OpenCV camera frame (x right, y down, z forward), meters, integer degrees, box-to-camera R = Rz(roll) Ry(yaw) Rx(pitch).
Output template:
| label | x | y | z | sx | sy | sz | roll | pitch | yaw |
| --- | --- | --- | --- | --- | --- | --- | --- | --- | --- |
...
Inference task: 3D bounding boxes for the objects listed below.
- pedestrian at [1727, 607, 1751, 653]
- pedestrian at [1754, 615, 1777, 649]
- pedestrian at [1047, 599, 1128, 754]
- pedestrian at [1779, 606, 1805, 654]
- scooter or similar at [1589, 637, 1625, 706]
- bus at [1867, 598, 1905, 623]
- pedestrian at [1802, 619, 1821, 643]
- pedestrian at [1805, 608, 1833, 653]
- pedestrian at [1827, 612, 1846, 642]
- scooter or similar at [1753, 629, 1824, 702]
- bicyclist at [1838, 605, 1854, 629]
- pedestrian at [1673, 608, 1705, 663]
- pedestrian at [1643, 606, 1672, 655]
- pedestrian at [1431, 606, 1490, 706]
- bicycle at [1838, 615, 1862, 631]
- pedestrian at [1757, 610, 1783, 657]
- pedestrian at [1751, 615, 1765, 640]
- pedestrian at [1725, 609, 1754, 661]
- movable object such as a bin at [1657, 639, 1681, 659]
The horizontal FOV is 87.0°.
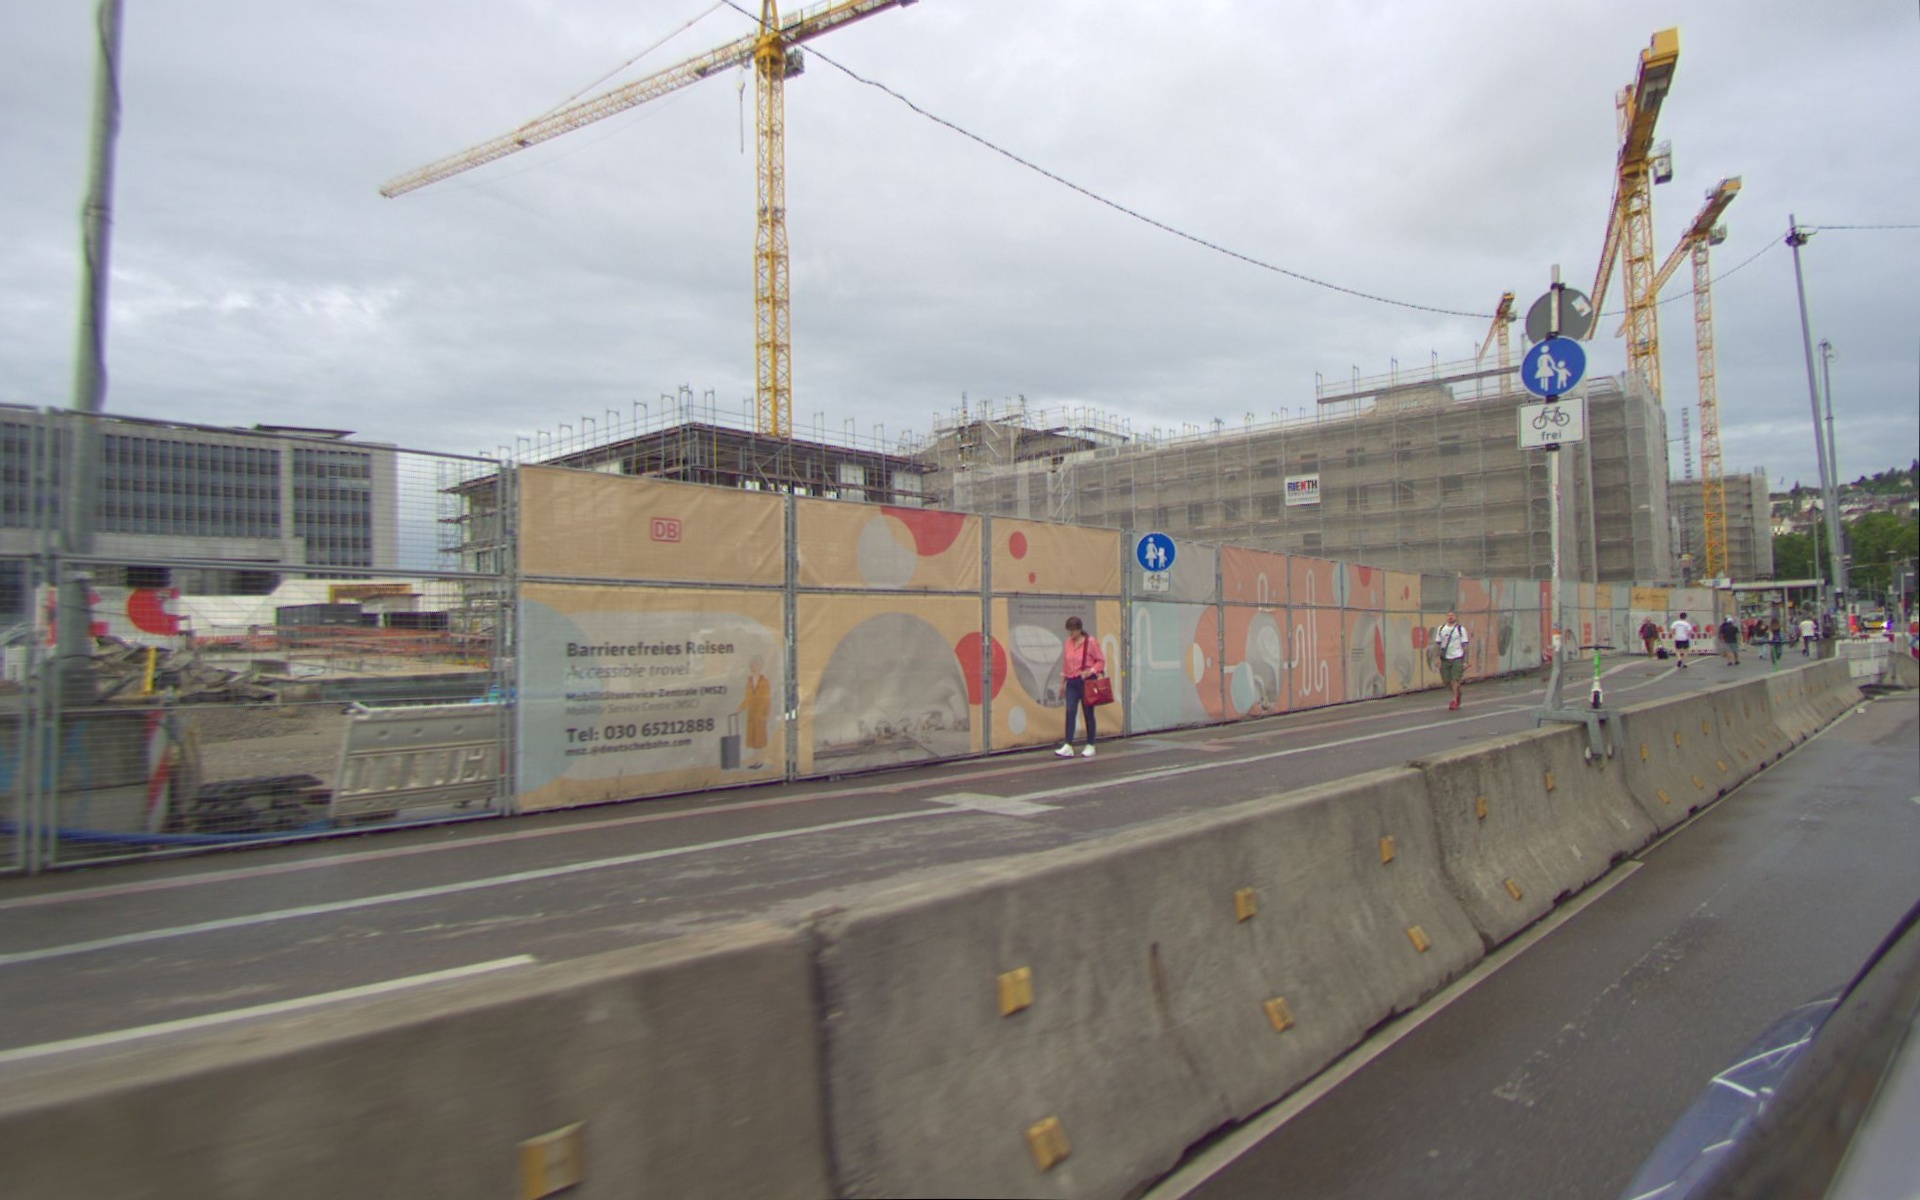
| label | x | y | z | sx | sy | sz | roll | pitch | yaw |
| --- | --- | --- | --- | --- | --- | --- | --- | --- | --- |
| pedestrian | 32.783 | 1.272 | 42.597 | 0.683 | 1.914 | 0.683 | -3 | -3 | 43 |
| pedestrian | 45.508 | 1.815 | 57.161 | 0.651 | 1.920 | 0.849 | 1 | -3 | -44 |
| pedestrian | 1.613 | 0.943 | 12.825 | 0.719 | 1.890 | 0.698 | -3 | -3 | 43 |
| pedestrian | 33.966 | 1.227 | 41.324 | 0.682 | 1.914 | 0.684 | 1 | -3 | -44 |
| scooter or similar | 11.846 | 1.282 | 18.523 | 0.465 | 1.198 | 1.397 | -3 | -3 | 35 |
| bus | 123.089 | 1.421 | 134.611 | 2.985 | 3.179 | 7.657 | -3 | -2 | 38 |
| pedestrian | 66.735 | 2.430 | 79.358 | 0.703 | 1.747 | 0.741 | 5 | 4 | 11 |
| pedestrian | 39.362 | 1.414 | 46.393 | 0.956 | 2.043 | 0.803 | 1 | -3 | -44 |
| pedestrian | 59.458 | 1.830 | 68.665 | 0.850 | 2.038 | 0.788 | 0 | -2 | -40 |
| scooter or similar | 14.809 | 1.151 | 18.075 | 1.544 | 1.230 | 0.675 | 1 | -3 | -41 |
| bicyclist | 63.689 | 1.213 | 72.744 | 0.425 | 1.727 | 0.697 | 0 | -2 | -31 |
| pedestrian | 23.973 | 1.169 | 33.279 | 0.683 | 1.763 | 0.893 | -3 | -3 | 43 |
| pedestrian | 27.958 | 1.218 | 40.557 | 0.643 | 1.920 | 0.767 | 1 | -3 | -44 |
| pedestrian | 9.829 | 1.084 | 19.875 | 0.974 | 1.890 | 0.704 | 1 | -3 | -45 |
| bicycle | 64.198 | 1.657 | 72.993 | 1.952 | 1.148 | 0.757 | 0 | 0 | -30 |
| pedestrian | 33.479 | 1.375 | 41.852 | 0.682 | 1.914 | 0.684 | 1 | -3 | -44 |
| pedestrian | 65.888 | 2.245 | 83.562 | 0.617 | 2.040 | 0.577 | -2 | -2 | 9 |
| pedestrian | 26.911 | 1.203 | 34.920 | 0.642 | 1.763 | 0.824 | -3 | -3 | 43 |
| movable object such as a bin | 28.454 | 1.979 | 40.618 | 0.765 | 0.743 | 0.597 | -3 | 0 | -42 |
